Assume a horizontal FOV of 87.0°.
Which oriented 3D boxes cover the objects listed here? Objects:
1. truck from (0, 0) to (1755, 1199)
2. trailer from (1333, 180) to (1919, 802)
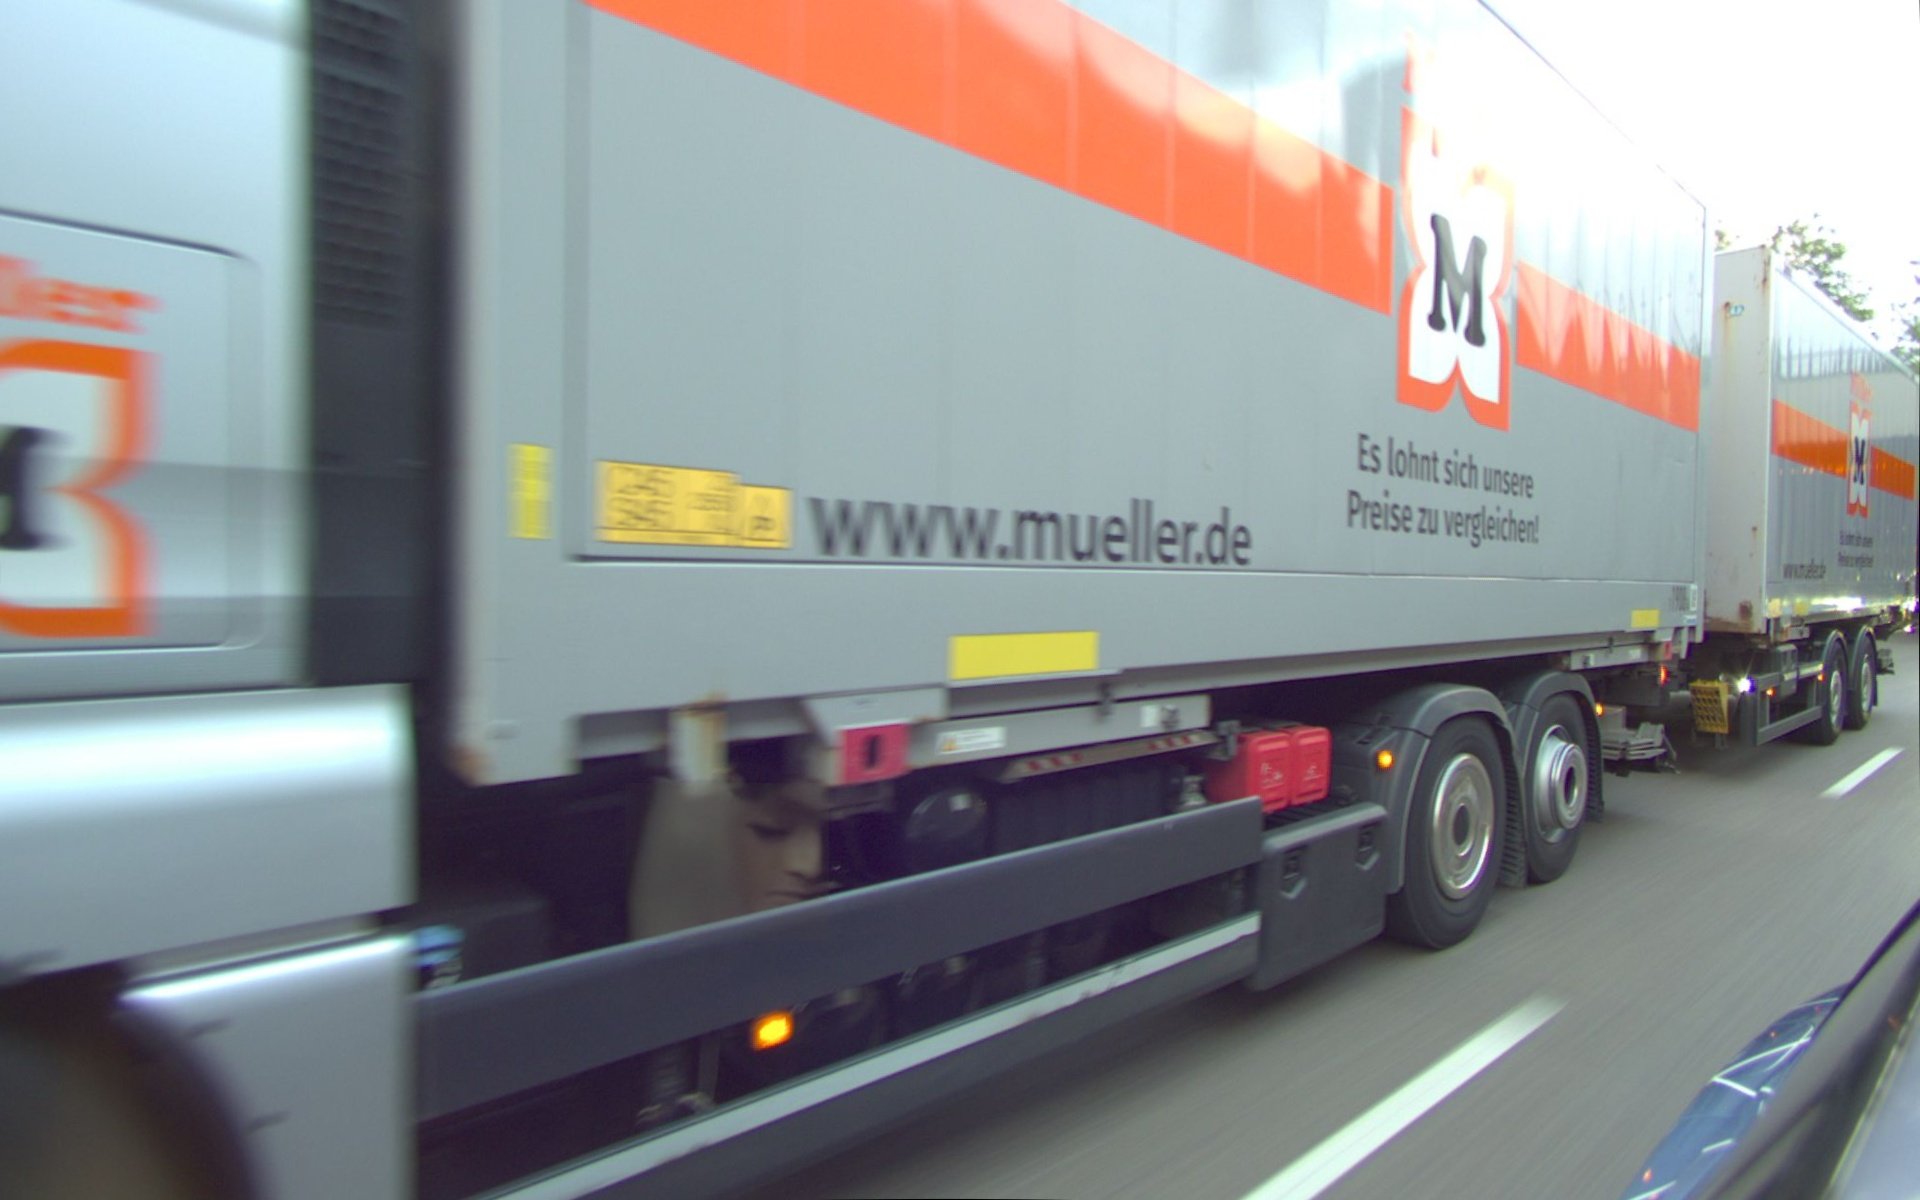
[{"bbox_3d":[0.343,-0.632,4.326,9.733,3.962,2.895,-1,1,-40],"label":"truck"},{"bbox_3d":[7.446,-0.754,10.306,8.789,3.907,2.881,-1,1,-40],"label":"trailer"}]
